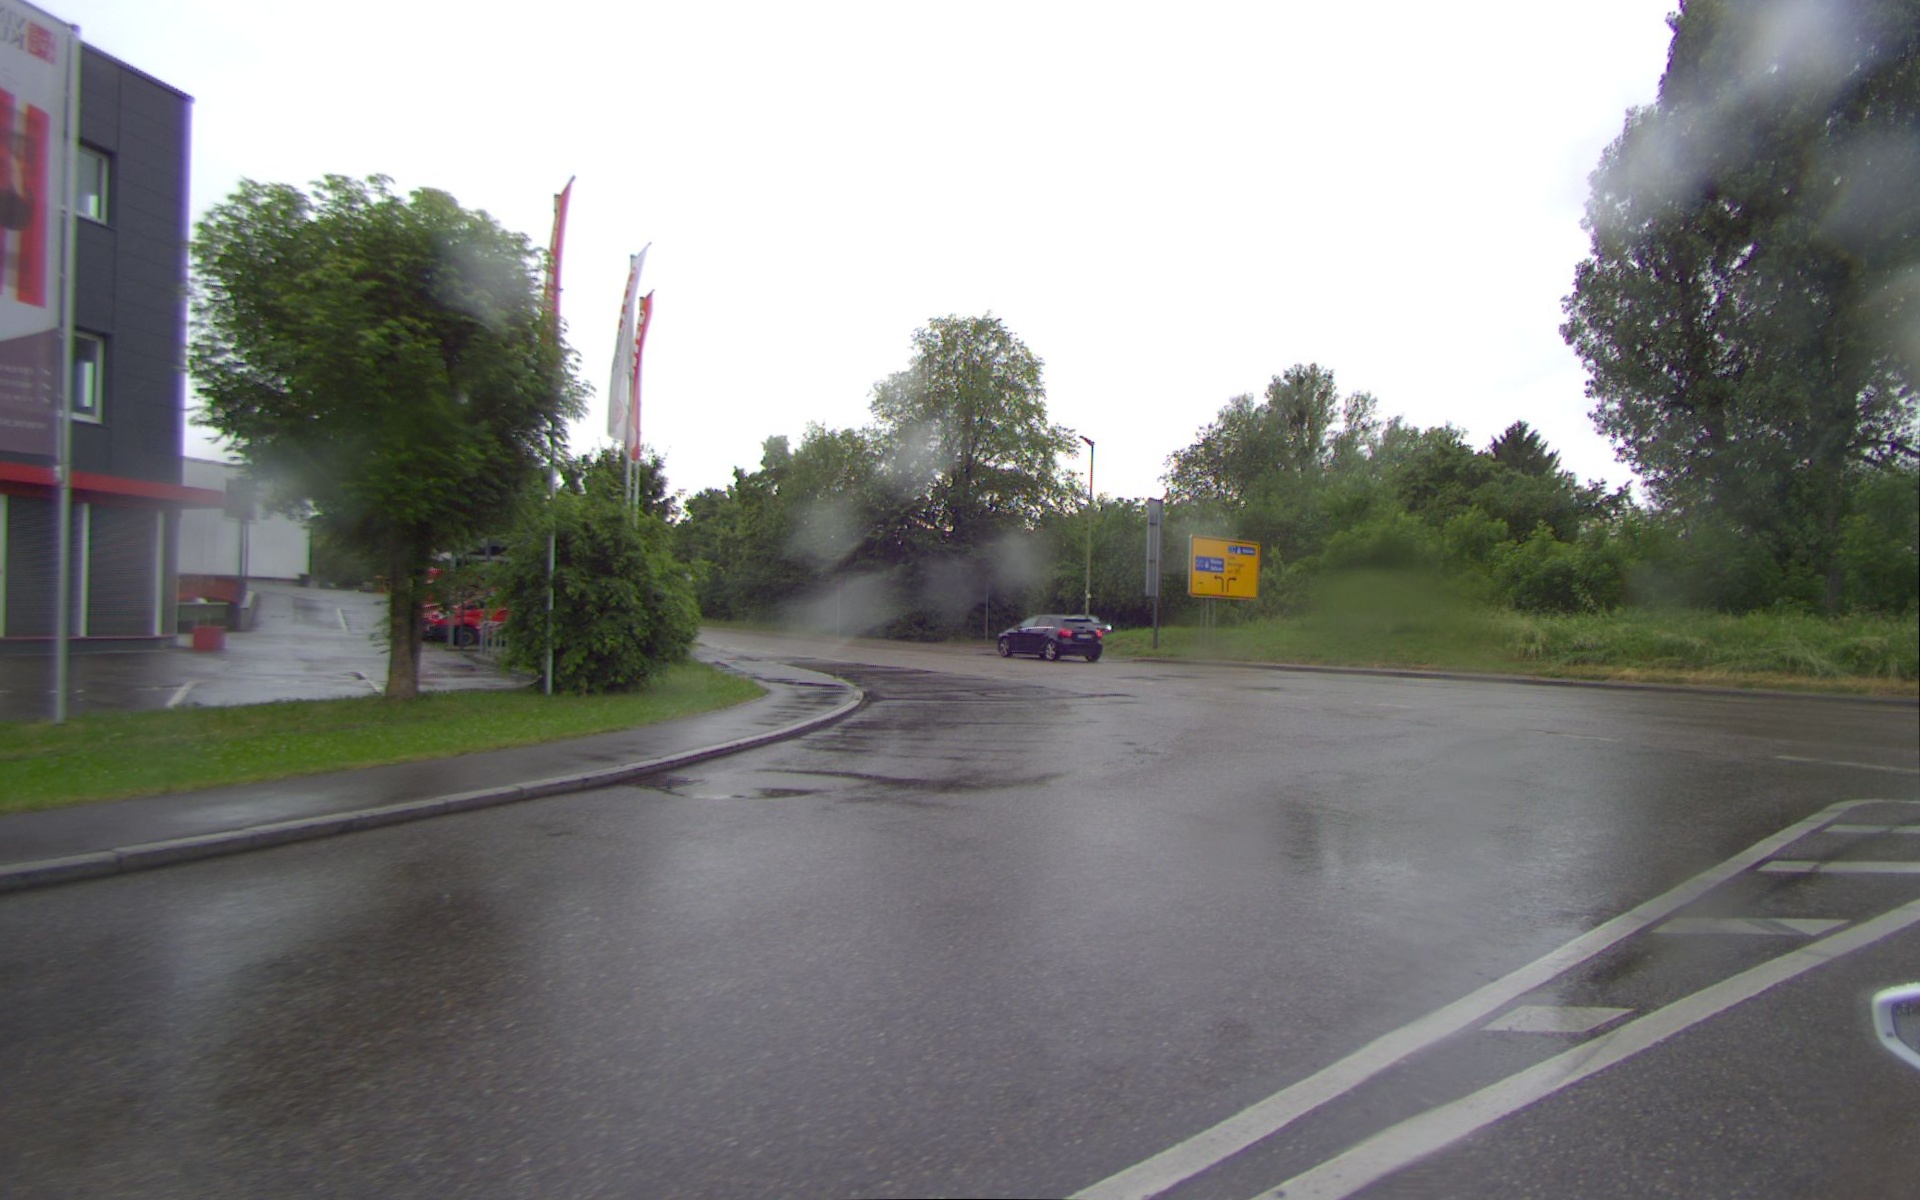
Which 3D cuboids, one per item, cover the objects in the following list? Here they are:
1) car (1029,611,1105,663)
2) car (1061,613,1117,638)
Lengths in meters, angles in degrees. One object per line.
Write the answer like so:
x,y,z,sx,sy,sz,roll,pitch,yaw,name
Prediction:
3.360,1.145,32.290,1.800,1.544,3.998,1,-1,-3,car
7.920,1.574,62.146,1.828,1.509,4.104,1,-1,-19,car
